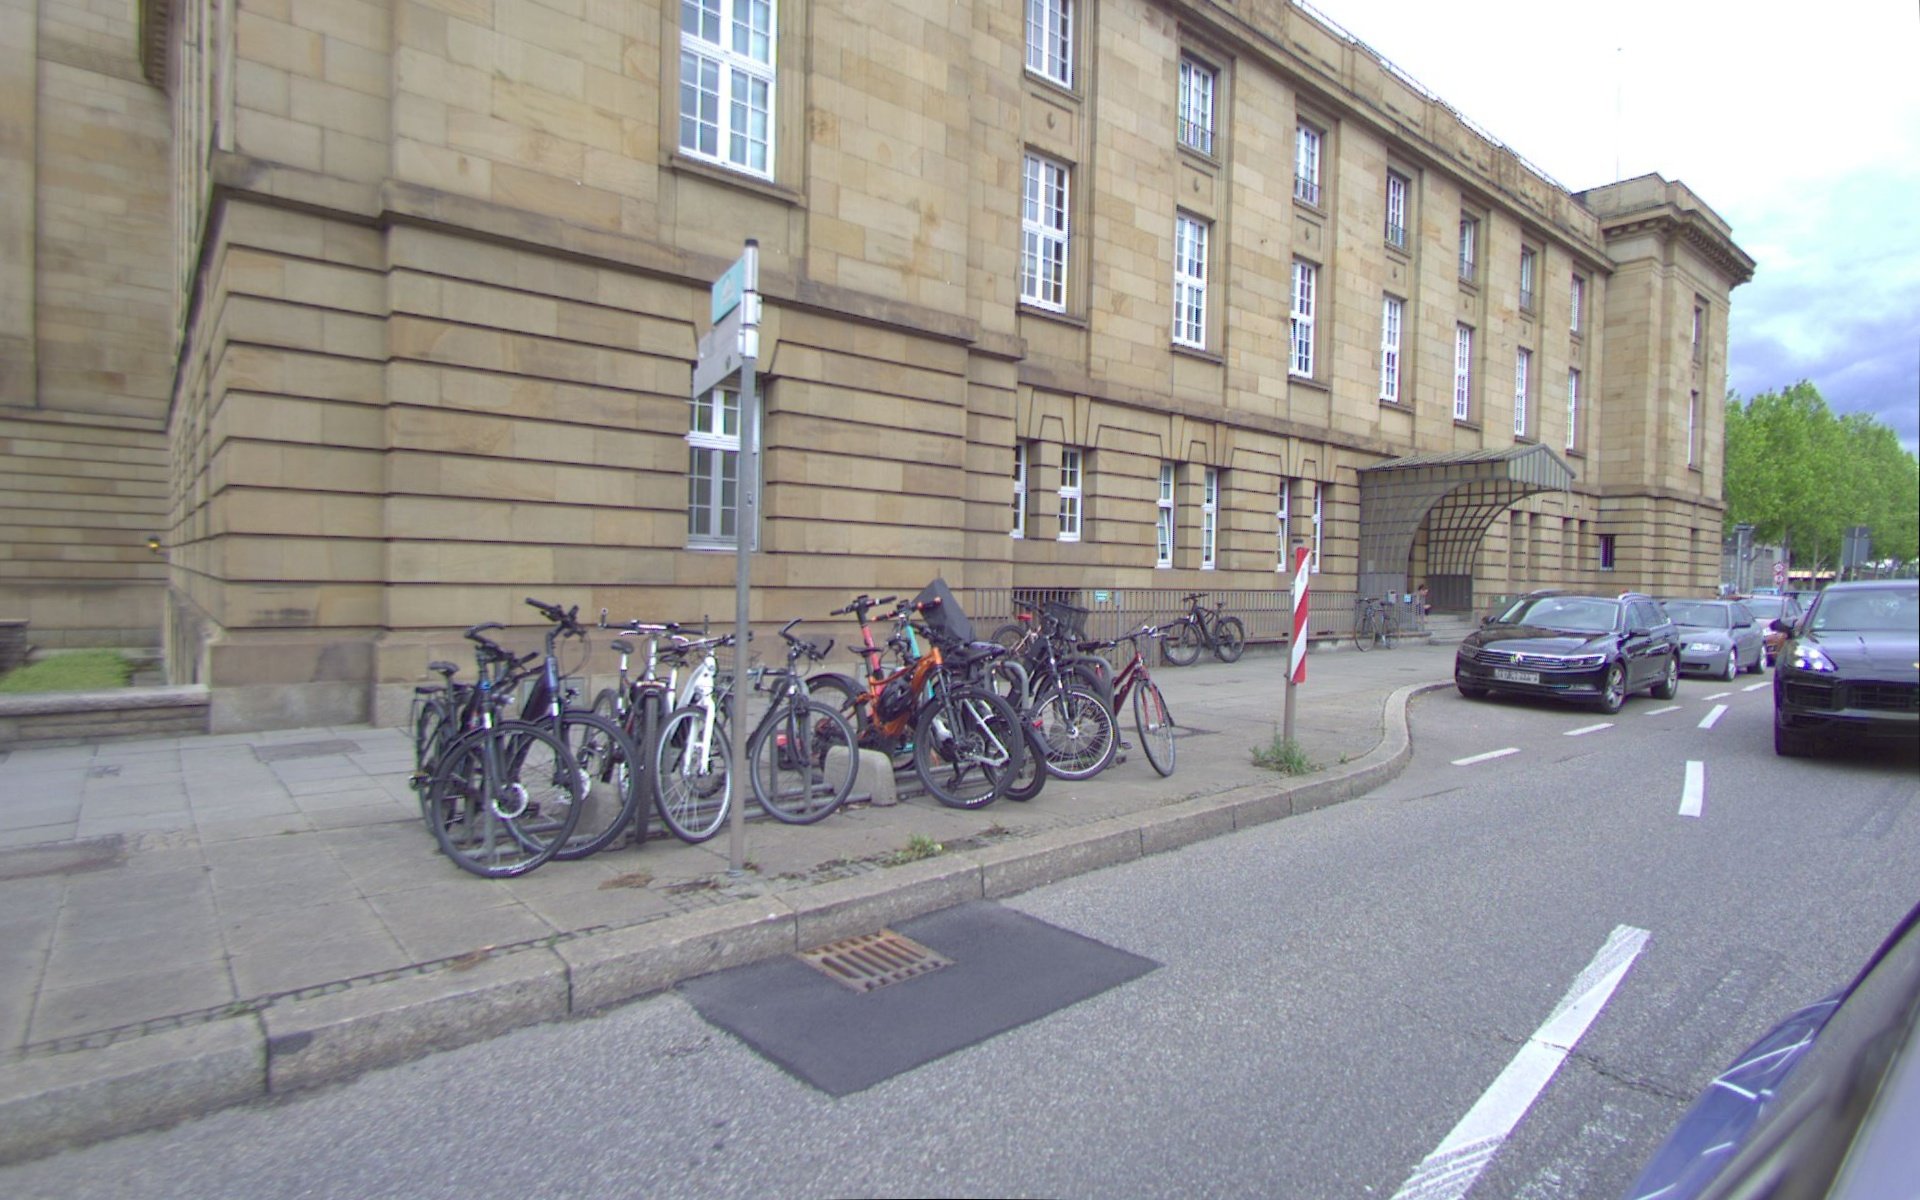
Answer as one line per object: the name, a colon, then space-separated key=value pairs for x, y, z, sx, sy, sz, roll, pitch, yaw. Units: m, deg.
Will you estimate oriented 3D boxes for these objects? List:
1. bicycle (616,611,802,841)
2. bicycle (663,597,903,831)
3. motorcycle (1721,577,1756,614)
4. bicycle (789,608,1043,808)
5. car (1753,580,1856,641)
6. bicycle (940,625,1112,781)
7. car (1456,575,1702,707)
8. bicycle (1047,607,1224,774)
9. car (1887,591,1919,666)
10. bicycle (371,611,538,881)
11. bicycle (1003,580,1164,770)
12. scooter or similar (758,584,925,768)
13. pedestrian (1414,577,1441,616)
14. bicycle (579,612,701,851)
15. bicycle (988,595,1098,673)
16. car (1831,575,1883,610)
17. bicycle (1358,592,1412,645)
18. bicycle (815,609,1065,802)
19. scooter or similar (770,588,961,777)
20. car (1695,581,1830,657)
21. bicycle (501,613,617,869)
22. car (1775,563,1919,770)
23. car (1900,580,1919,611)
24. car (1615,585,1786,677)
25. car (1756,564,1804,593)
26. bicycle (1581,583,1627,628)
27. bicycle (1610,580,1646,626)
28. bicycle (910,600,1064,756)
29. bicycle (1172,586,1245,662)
bicycle: x=-1.512 y=0.629 z=5.870 sx=0.563 sy=1.105 sz=1.735 roll=0 pitch=0 yaw=-31
bicycle: x=-1.131 y=0.595 z=6.159 sx=0.594 sy=1.224 sz=1.759 roll=0 pitch=0 yaw=-43
motorcycle: x=27.620 y=-0.170 z=35.903 sx=1.887 sy=1.257 sz=0.456 roll=0 pitch=2 yaw=-37
bicycle: x=-0.297 y=0.630 z=6.374 sx=1.597 sy=1.144 sz=0.405 roll=0 pitch=0 yaw=25
car: x=23.901 y=0.253 z=28.608 sx=3.642 sy=1.571 sz=1.549 roll=0 pitch=2 yaw=-39
bicycle: x=0.432 y=0.698 z=7.560 sx=0.601 sy=0.928 sz=1.738 roll=0 pitch=1 yaw=-21
car: x=8.557 y=0.441 z=13.838 sx=4.253 sy=1.504 sz=1.790 roll=-1 pitch=2 yaw=-43
bicycle: x=1.285 y=0.621 z=7.753 sx=0.573 sy=1.087 sz=1.671 roll=0 pitch=1 yaw=-20
car: x=20.000 y=0.543 z=20.281 sx=1.931 sy=1.393 sz=3.935 roll=1 pitch=1 yaw=45
bicycle: x=-2.623 y=0.628 z=5.263 sx=0.652 sy=1.105 sz=1.866 roll=0 pitch=0 yaw=-27
bicycle: x=0.875 y=0.497 z=7.583 sx=0.532 sy=1.272 sz=1.550 roll=0 pitch=0 yaw=-21
scooter or similar: x=-0.891 y=0.532 z=7.674 sx=1.126 sy=1.295 sz=0.564 roll=0 pitch=0 yaw=-34
pedestrian: x=10.634 y=-0.076 z=23.032 sx=0.366 sy=0.884 sz=0.430 roll=-1 pitch=0 yaw=-39
bicycle: x=-1.833 y=0.635 z=5.661 sx=0.373 sy=1.105 sz=1.736 roll=0 pitch=0 yaw=-27
bicycle: x=1.180 y=0.443 z=14.046 sx=1.928 sy=1.010 sz=0.240 roll=-1 pitch=2 yaw=-41
car: x=46.631 y=-0.376 z=52.580 sx=1.805 sy=1.760 sz=4.414 roll=1 pitch=0 yaw=44
bicycle: x=8.675 y=0.361 z=20.610 sx=1.827 sy=1.042 sz=0.222 roll=0 pitch=0 yaw=-41
bicycle: x=-0.148 y=0.637 z=6.624 sx=1.597 sy=1.144 sz=0.466 roll=0 pitch=0 yaw=25
scooter or similar: x=-0.665 y=0.546 z=7.251 sx=1.286 sy=1.239 sz=0.427 roll=-1 pitch=0 yaw=-30
car: x=17.639 y=0.354 z=22.196 sx=3.791 sy=1.473 sz=1.619 roll=-1 pitch=3 yaw=-41
bicycle: x=-2.170 y=0.639 z=5.380 sx=0.417 sy=1.105 sz=1.736 roll=0 pitch=0 yaw=-27
car: x=9.315 y=0.525 z=9.632 sx=4.131 sy=1.678 sz=1.905 roll=-1 pitch=1 yaw=-44
car: x=65.084 y=-0.311 z=68.398 sx=3.932 sy=2.039 sz=1.996 roll=0 pitch=2 yaw=-43
car: x=13.617 y=0.486 z=18.545 sx=3.928 sy=1.443 sz=1.711 roll=-1 pitch=3 yaw=-42
car: x=44.851 y=-1.187 z=55.323 sx=3.444 sy=1.549 sz=1.582 roll=-1 pitch=1 yaw=-43
bicycle: x=18.205 y=0.143 z=28.592 sx=1.882 sy=1.232 sz=0.556 roll=-1 pitch=1 yaw=-41
bicycle: x=19.624 y=0.076 z=29.720 sx=1.759 sy=1.304 sz=0.413 roll=-1 pitch=1 yaw=-41
bicycle: x=0.154 y=0.521 z=7.572 sx=0.427 sy=1.041 sz=1.570 roll=0 pitch=0 yaw=-28
bicycle: x=4.072 y=0.371 z=16.516 sx=1.510 sy=1.197 sz=0.276 roll=-1 pitch=0 yaw=-38
